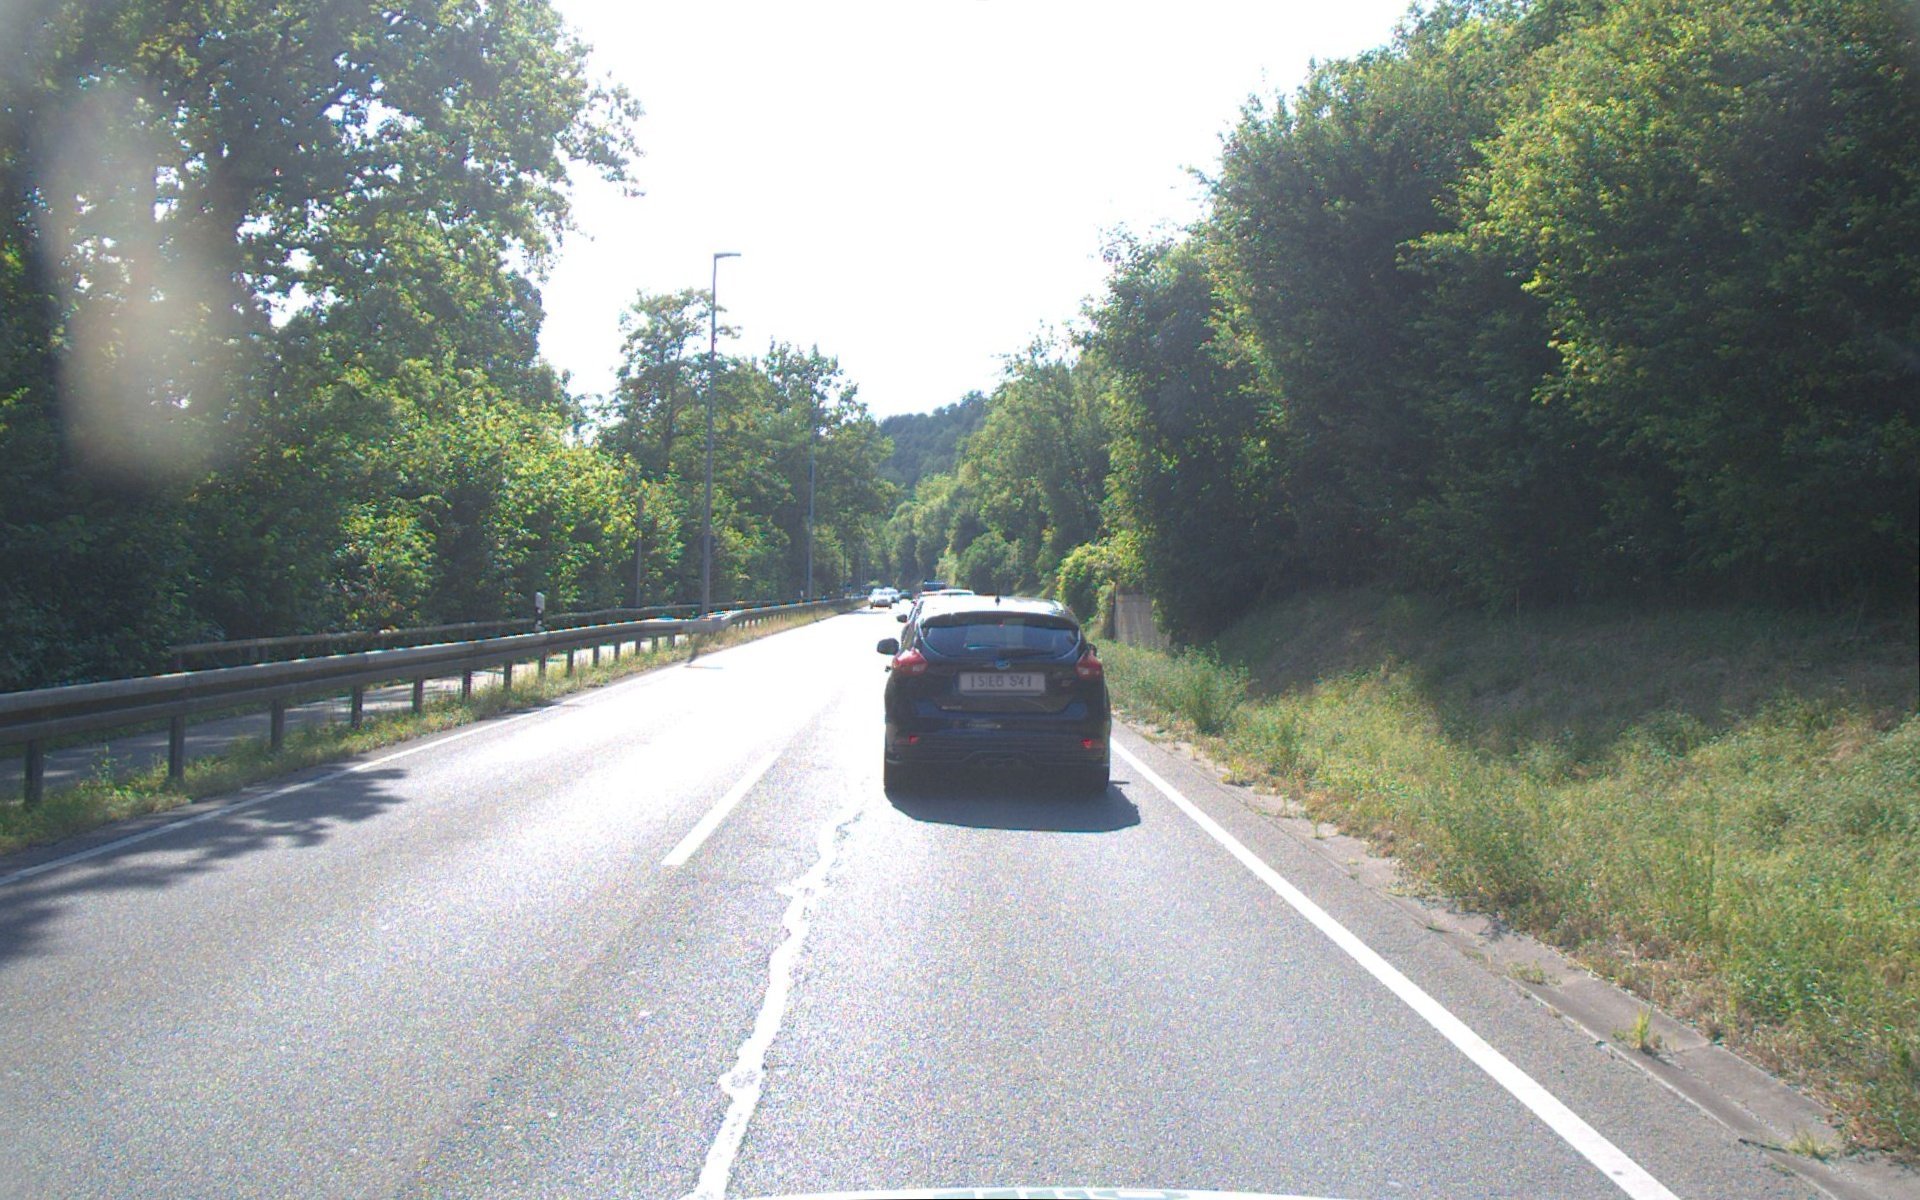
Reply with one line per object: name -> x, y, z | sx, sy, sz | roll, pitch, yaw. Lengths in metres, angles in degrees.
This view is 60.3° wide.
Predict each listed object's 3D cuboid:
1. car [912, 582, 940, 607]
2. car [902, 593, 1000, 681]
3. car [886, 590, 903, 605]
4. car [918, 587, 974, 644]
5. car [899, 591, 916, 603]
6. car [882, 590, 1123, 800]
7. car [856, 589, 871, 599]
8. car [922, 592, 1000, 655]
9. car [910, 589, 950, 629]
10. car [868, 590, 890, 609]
car -> -2.512, -0.435, 122.014 | 1.826, 1.812, 3.996 | 0, 0, -5
car -> -0.126, 0.612, 29.646 | 1.627, 1.443, 4.000 | 1, 0, 1
car -> -6.623, -0.264, 168.459 | 1.647, 1.489, 4.196 | 1, 0, -2
car -> -0.423, 0.424, 49.438 | 1.597, 1.624, 3.999 | 0, 0, -1
car -> -7.125, -0.434, 223.543 | 1.956, 1.545, 3.993 | 0, 0, -8
car -> 0.281, 0.682, 13.864 | 1.704, 1.482, 3.999 | 1, 0, -1
car -> -15.158, -0.881, 260.353 | 1.956, 1.545, 3.993 | 0, 0, -8
car -> -0.006, 0.517, 39.506 | 1.768, 1.416, 3.999 | 0, 0, -1
car -> -1.260, 0.372, 69.775 | 1.597, 1.624, 3.999 | 0, 0, -1
car -> -6.228, -0.067, 128.187 | 1.590, 1.401, 4.046 | 0, 0, -1
